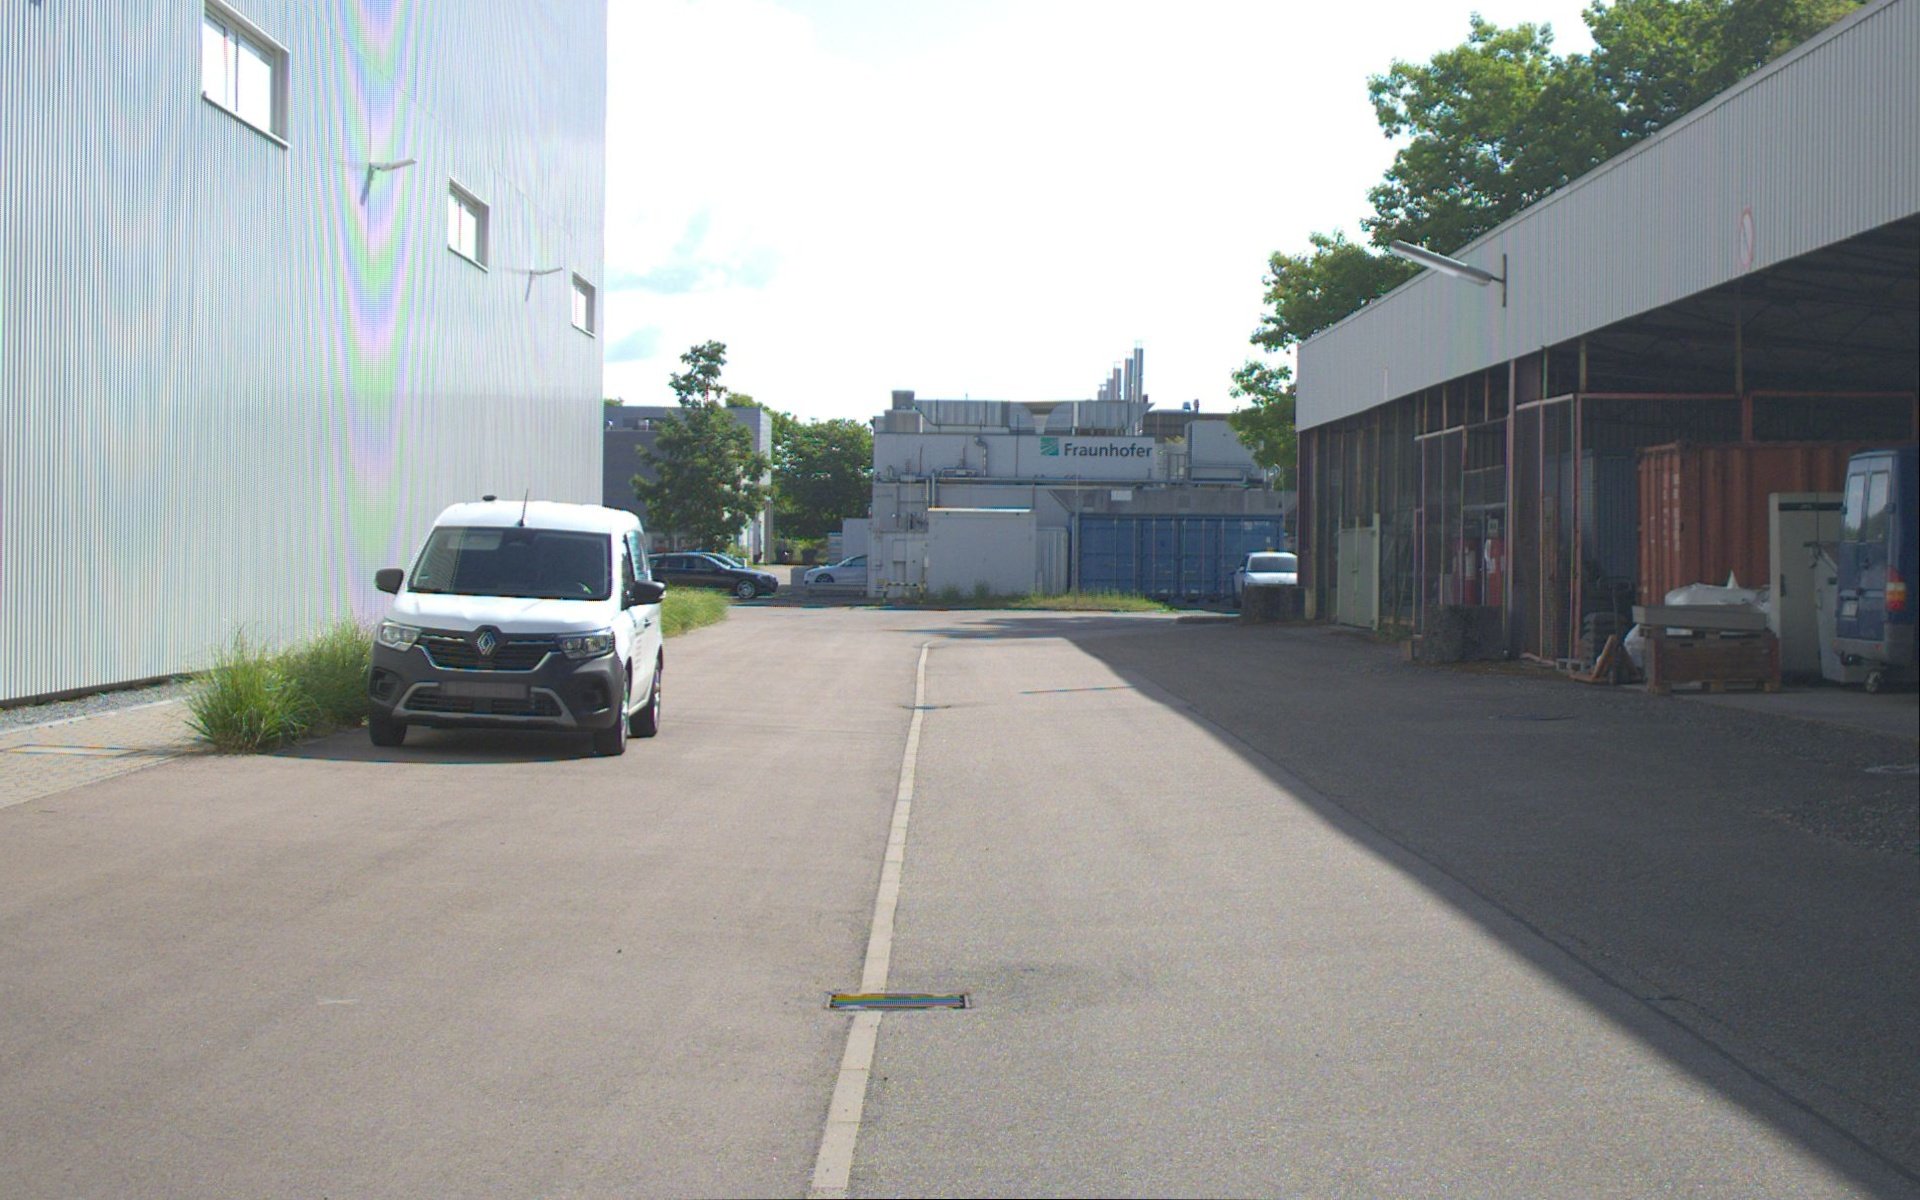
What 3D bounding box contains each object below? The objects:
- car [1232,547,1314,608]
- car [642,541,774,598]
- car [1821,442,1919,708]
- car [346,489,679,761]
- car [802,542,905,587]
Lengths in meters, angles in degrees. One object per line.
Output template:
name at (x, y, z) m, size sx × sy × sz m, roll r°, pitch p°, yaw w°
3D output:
car at (8.659, -0.640, 95.326) m, size 1.962 × 1.559 × 4.059 m, roll 2°, pitch 1°, yaw 2°
car at (-7.898, -0.944, 107.808) m, size 3.987 × 1.592 × 1.742 m, roll 2°, pitch -1°, yaw -1°
car at (10.213, -0.130, 30.843) m, size 4.433 × 2.302 × 1.915 m, roll 2°, pitch -1°, yaw 1°
car at (-3.224, 0.126, 25.573) m, size 1.818 × 1.781 × 4.405 m, roll 2°, pitch 1°, yaw 0°
car at (-4.194, -1.387, 135.672) m, size 3.987 × 1.592 × 1.848 m, roll 2°, pitch -1°, yaw -1°
